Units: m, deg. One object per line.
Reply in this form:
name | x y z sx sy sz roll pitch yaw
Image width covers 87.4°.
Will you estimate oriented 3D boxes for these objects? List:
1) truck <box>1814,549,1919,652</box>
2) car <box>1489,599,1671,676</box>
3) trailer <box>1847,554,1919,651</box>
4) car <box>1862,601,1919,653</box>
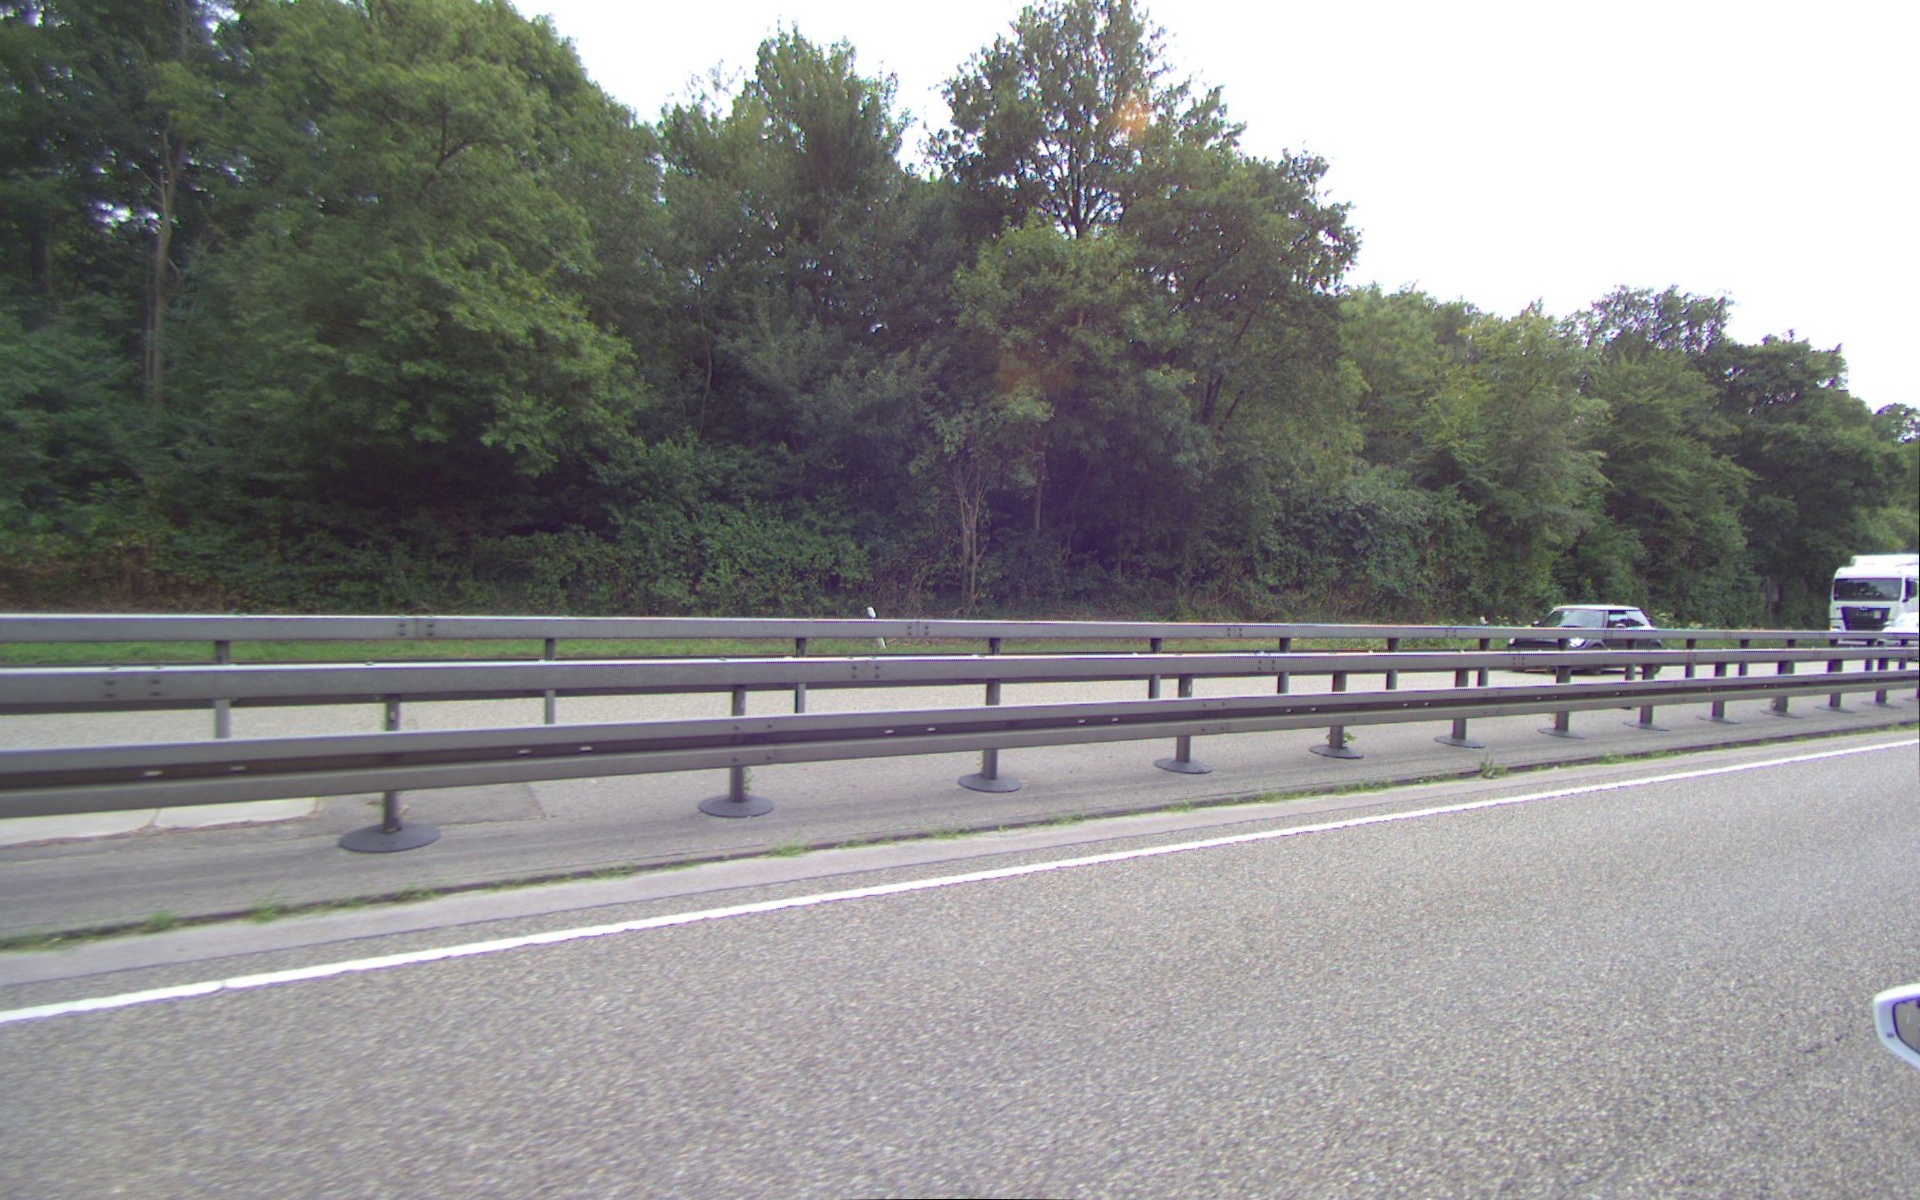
truck | 39.169 0.077 42.918 5.265 4.117 2.677 1 -1 -33
car | 12.879 0.755 20.829 3.733 1.466 1.700 1 -1 -31
trailer | 45.538 0.229 47.042 12.732 4.100 2.649 1 -1 -33
car | 30.696 0.860 32.031 4.082 1.570 1.782 1 -1 -31
